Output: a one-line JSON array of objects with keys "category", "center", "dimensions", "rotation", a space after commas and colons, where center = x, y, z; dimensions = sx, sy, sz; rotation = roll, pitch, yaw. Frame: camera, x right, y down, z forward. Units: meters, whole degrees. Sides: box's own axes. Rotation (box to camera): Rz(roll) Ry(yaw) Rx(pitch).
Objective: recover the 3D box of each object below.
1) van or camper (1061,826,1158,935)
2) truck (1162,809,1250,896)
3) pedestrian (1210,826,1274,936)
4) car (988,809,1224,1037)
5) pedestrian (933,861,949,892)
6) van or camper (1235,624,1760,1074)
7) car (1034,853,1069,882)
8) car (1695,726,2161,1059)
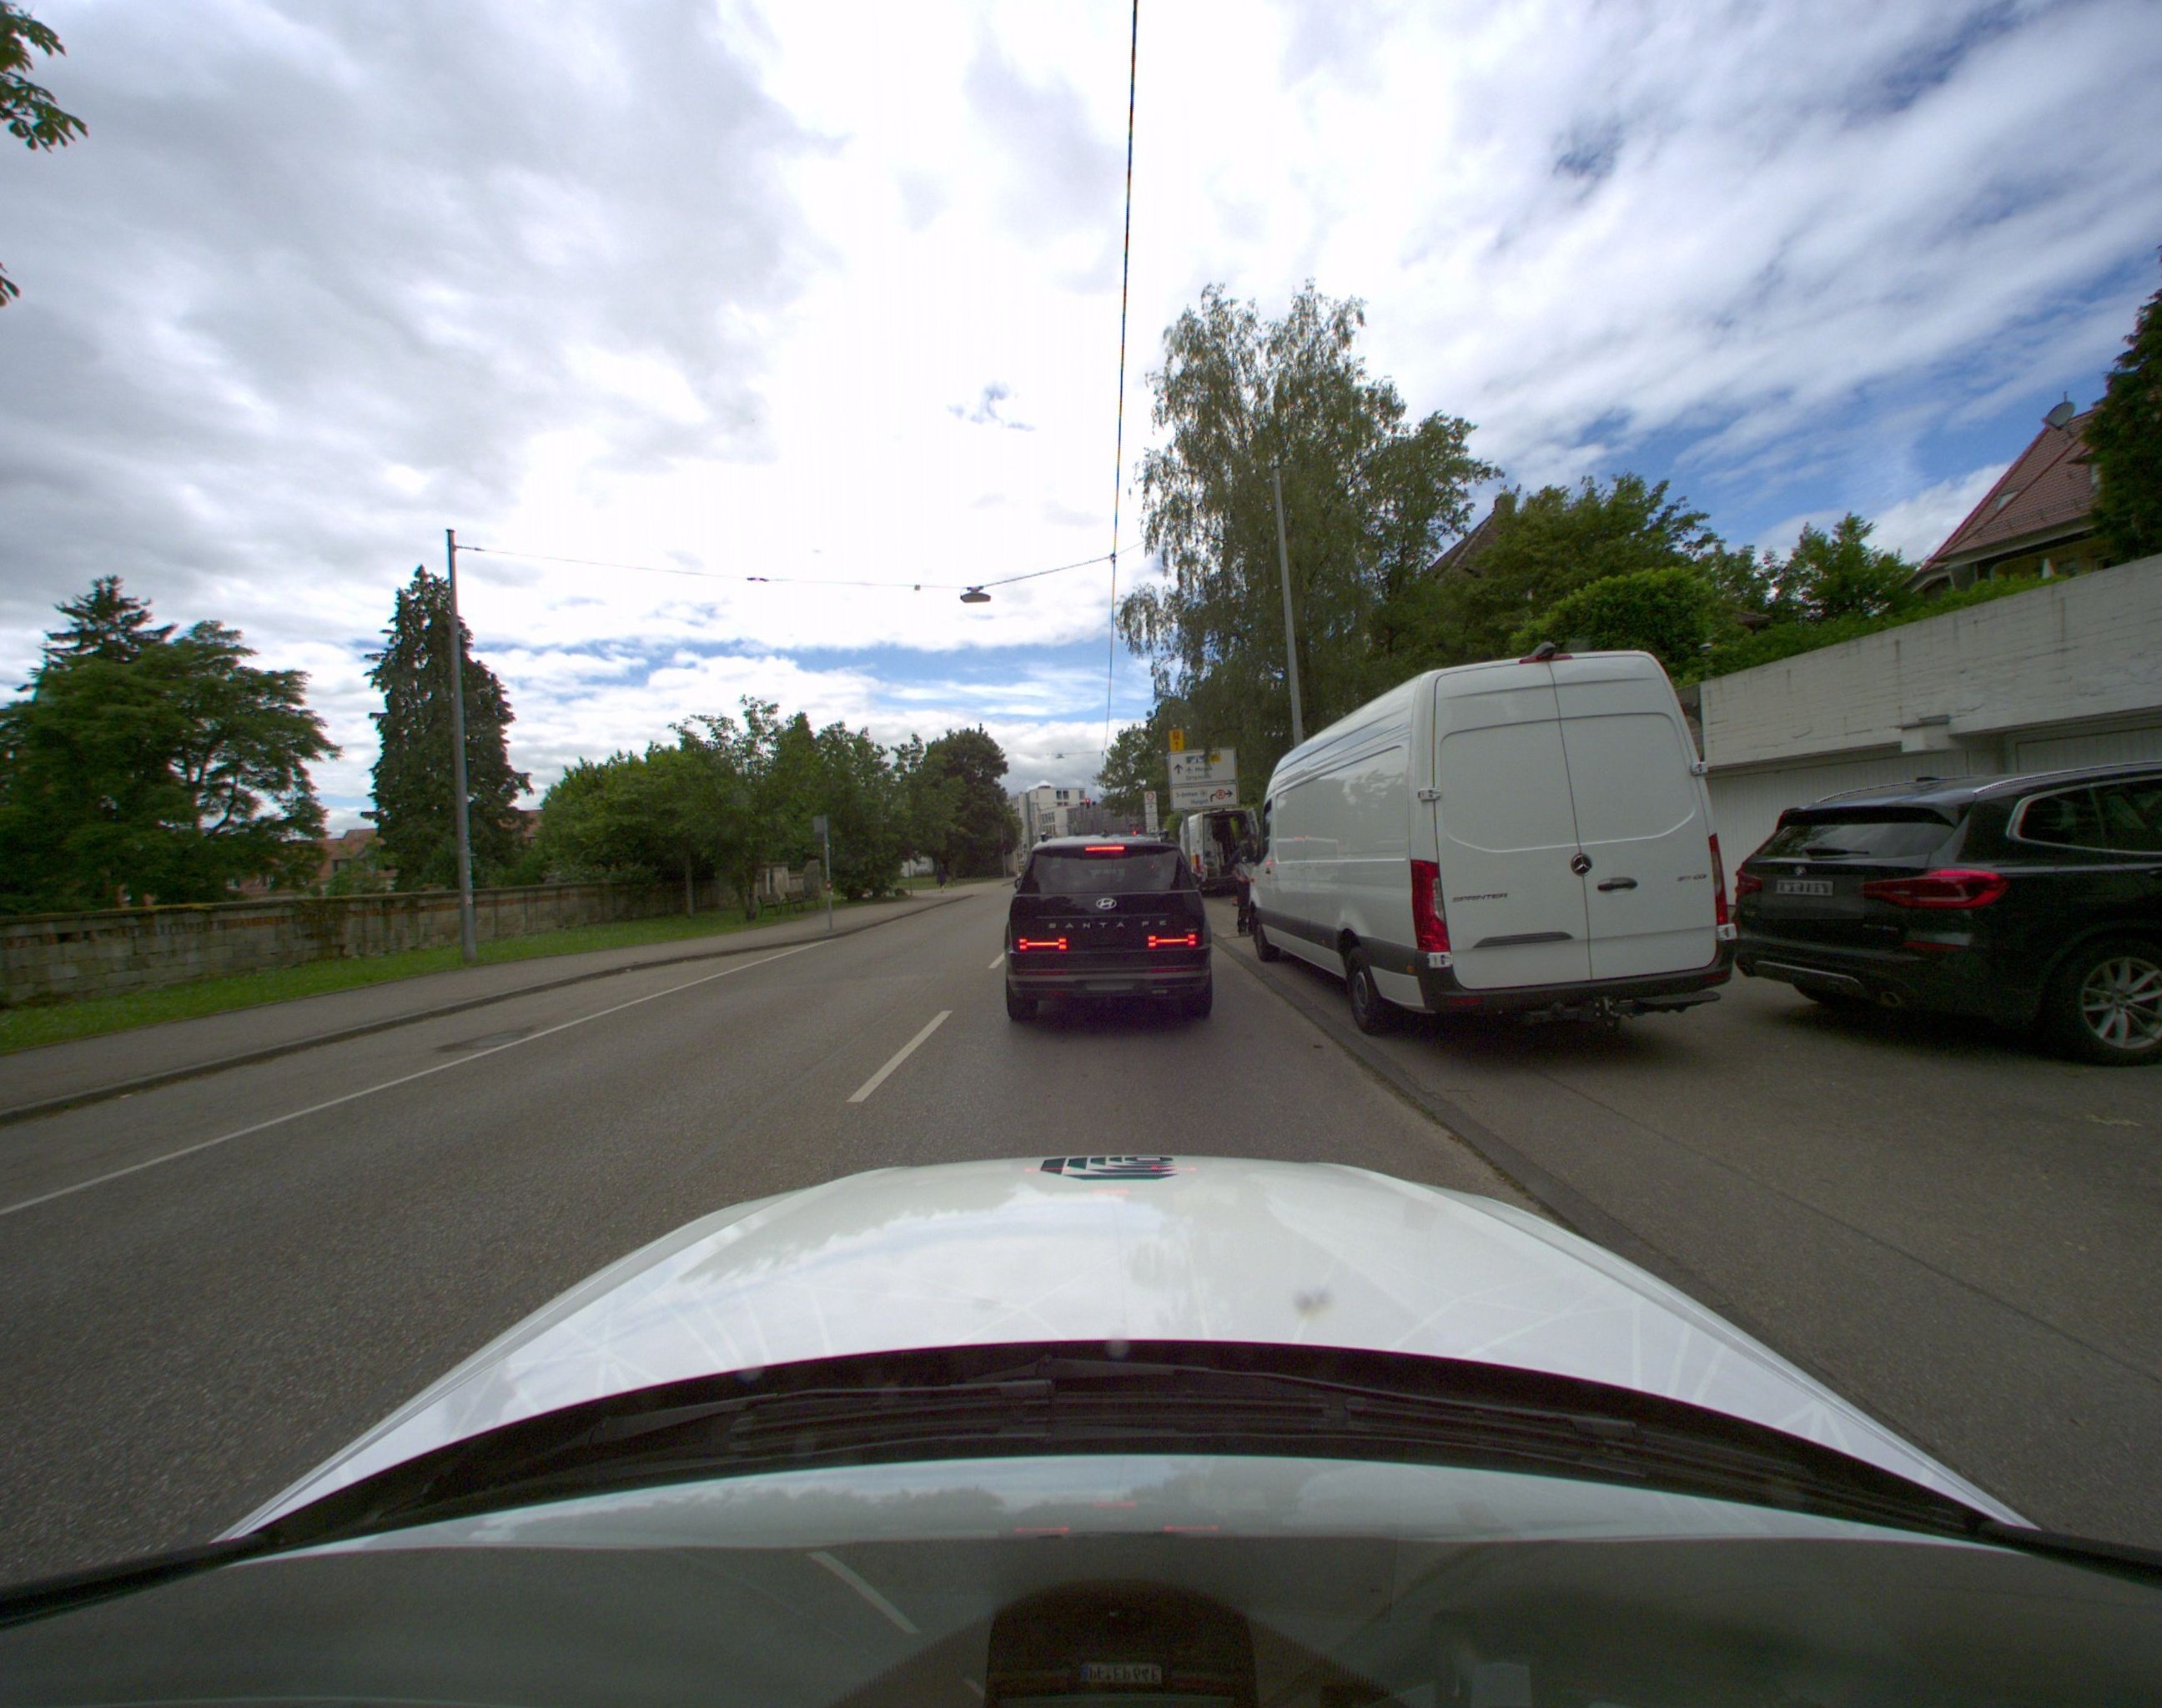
[{"category": "van or camper", "center": [0.613, 0.509, 17.612], "dimensions": [1.748, 2.013, 4.002], "rotation": [-3, 0, 2]}, {"category": "truck", "center": [4.148, -0.018, 28.018], "dimensions": [1.937, 2.561, 5.213], "rotation": [-5, -1, -1]}, {"category": "pedestrian", "center": [2.760, 0.447, 14.007], "dimensions": [0.867, 1.797, 0.760], "rotation": [-3, 0, 1]}, {"category": "car", "center": [0.264, 0.567, 8.669], "dimensions": [1.883, 1.819, 4.002], "rotation": [-2, 0, 2]}, {"category": "pedestrian", "center": [-7.844, 1.257, 45.554], "dimensions": [0.737, 1.715, 0.791], "rotation": [-3, 0, -5]}, {"category": "van or camper", "center": [3.132, -0.028, 8.198], "dimensions": [1.986, 2.620, 6.543], "rotation": [-3, 0, 2]}, {"category": "car", "center": [-1.929, 0.878, 54.637], "dimensions": [1.852, 1.657, 4.307], "rotation": [-6, 0, 2]}, {"category": "car", "center": [6.861, 0.129, 5.229], "dimensions": [4.398, 1.750, 1.739], "rotation": [-3, 0, 3]}]
